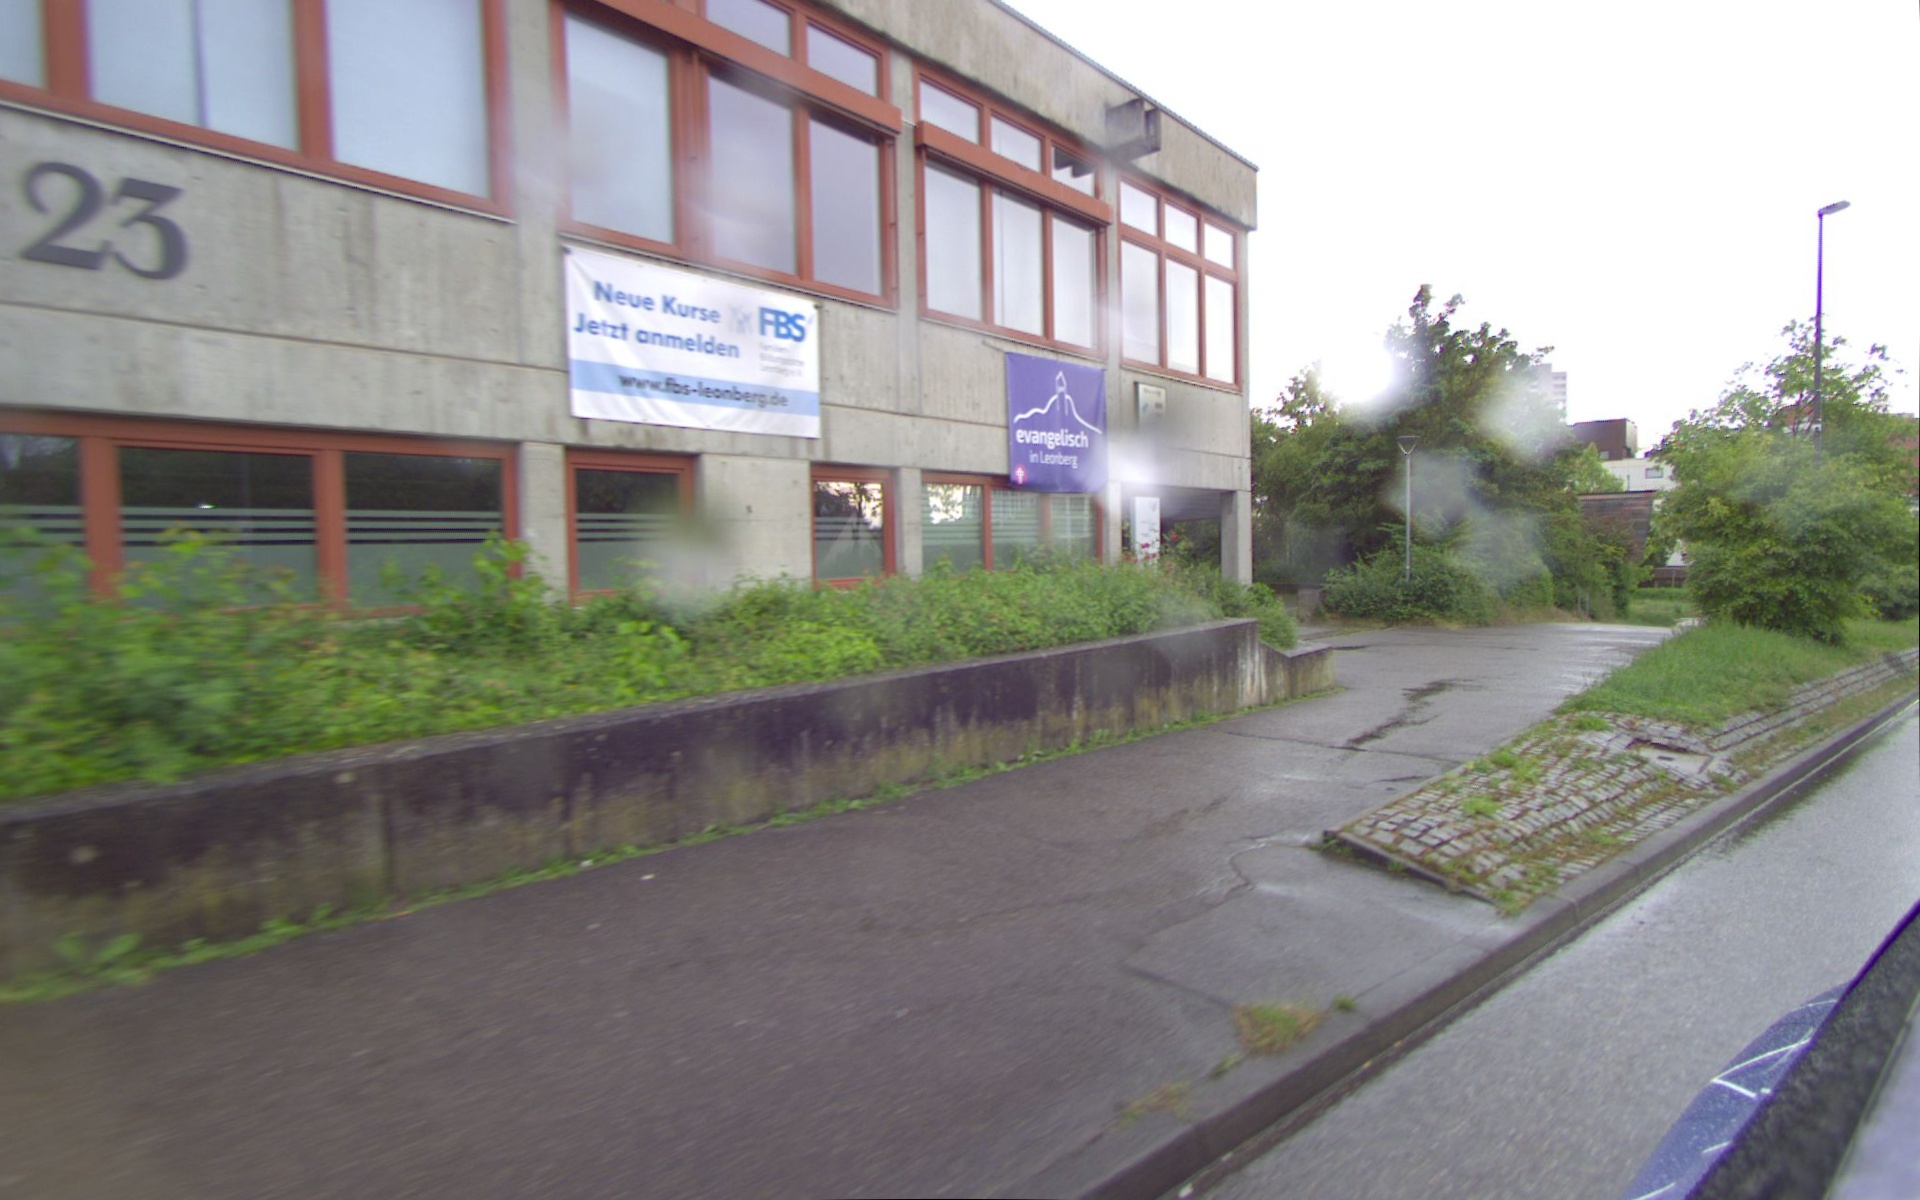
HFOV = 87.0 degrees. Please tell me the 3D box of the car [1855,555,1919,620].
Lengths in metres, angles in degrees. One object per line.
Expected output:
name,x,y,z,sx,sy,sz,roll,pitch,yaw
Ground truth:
car,28.624,-0.382,30.388,3.897,1.843,2.047,-1,0,-40
